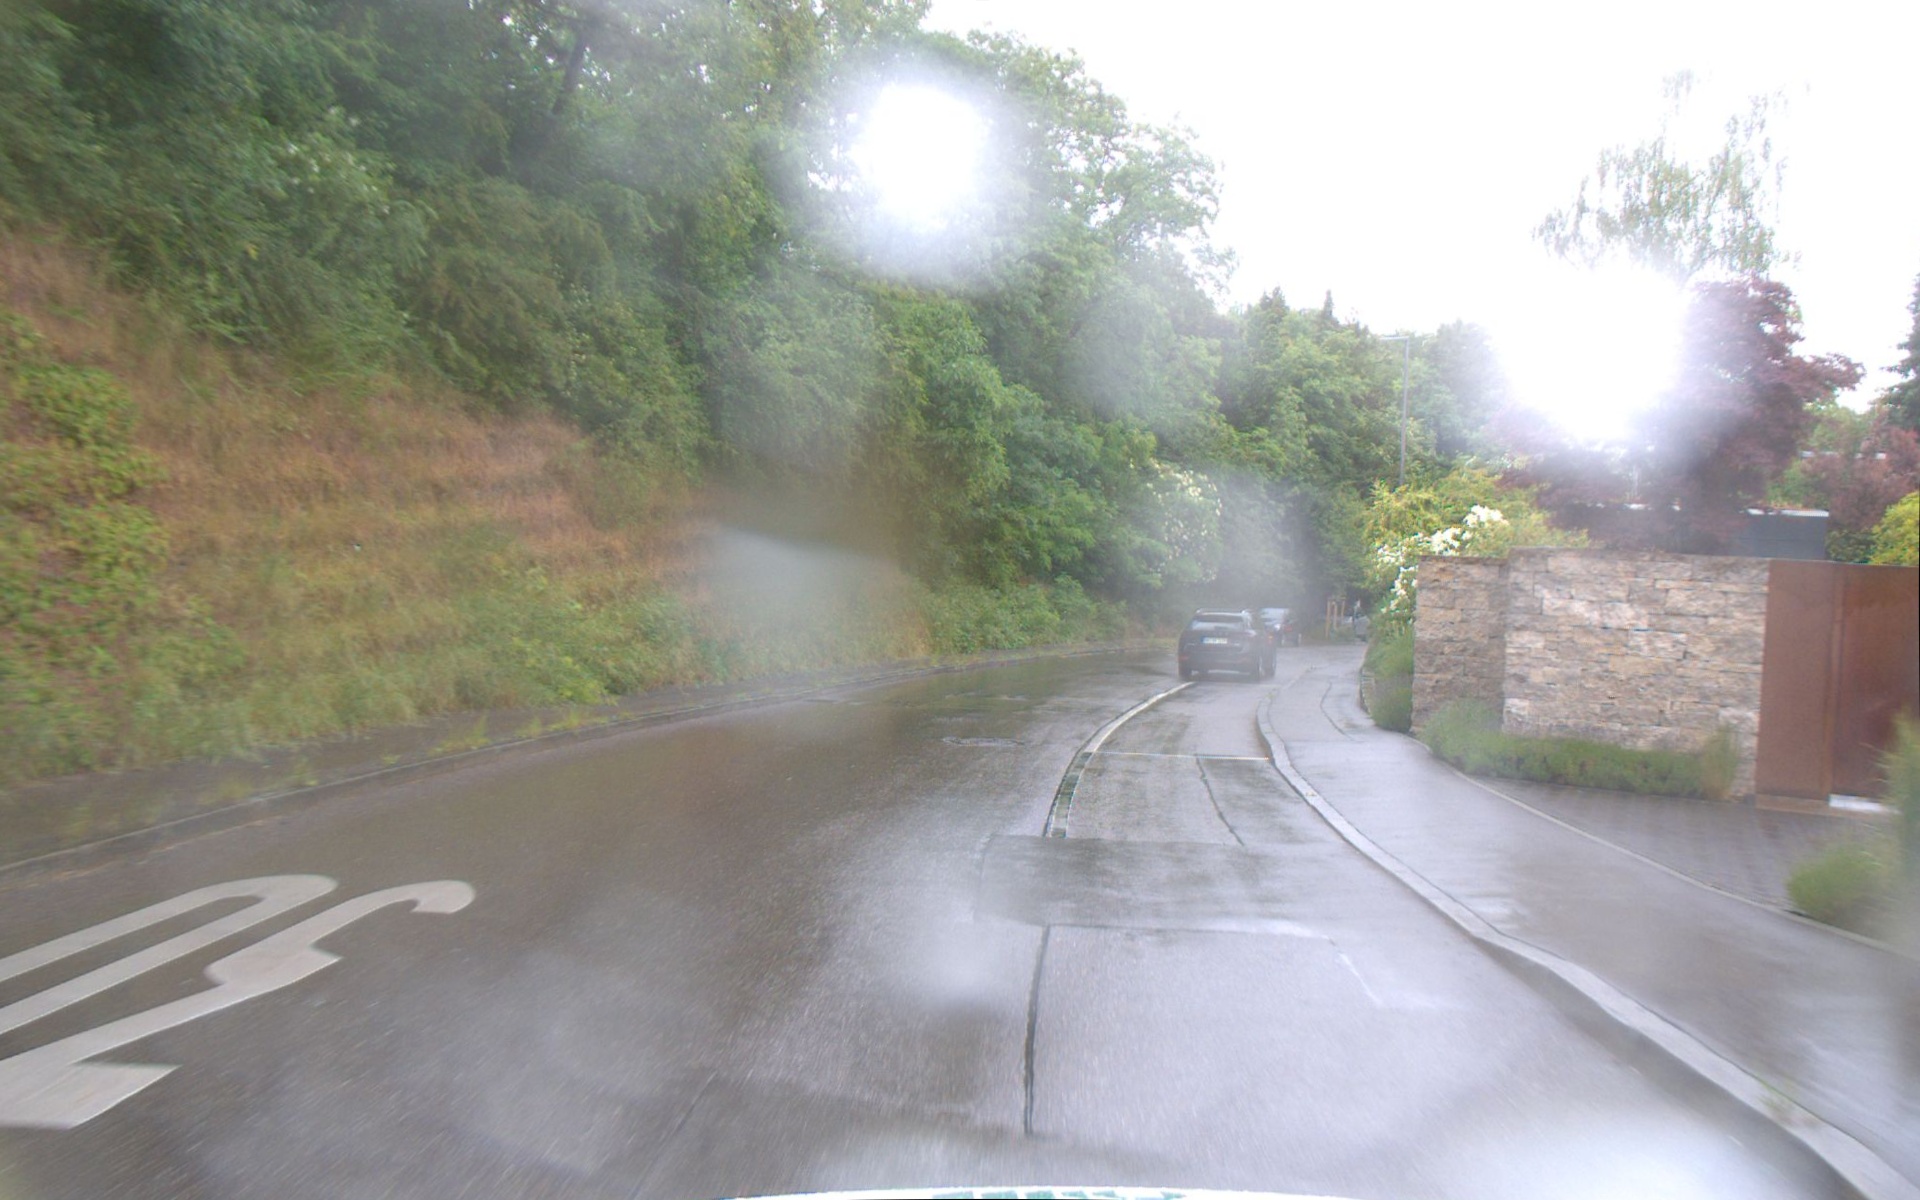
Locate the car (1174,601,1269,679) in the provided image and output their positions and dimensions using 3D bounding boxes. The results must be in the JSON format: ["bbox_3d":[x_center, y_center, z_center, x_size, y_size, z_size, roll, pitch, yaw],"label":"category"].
[{"bbox_3d":[5.718,0.824,35.847,1.828,1.538,4.096,2,0,11],"label":"car"}]

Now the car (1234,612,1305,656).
[{"bbox_3d":[11.634,1.241,61.987,1.666,1.496,3.998,4,1,24],"label":"car"}]
